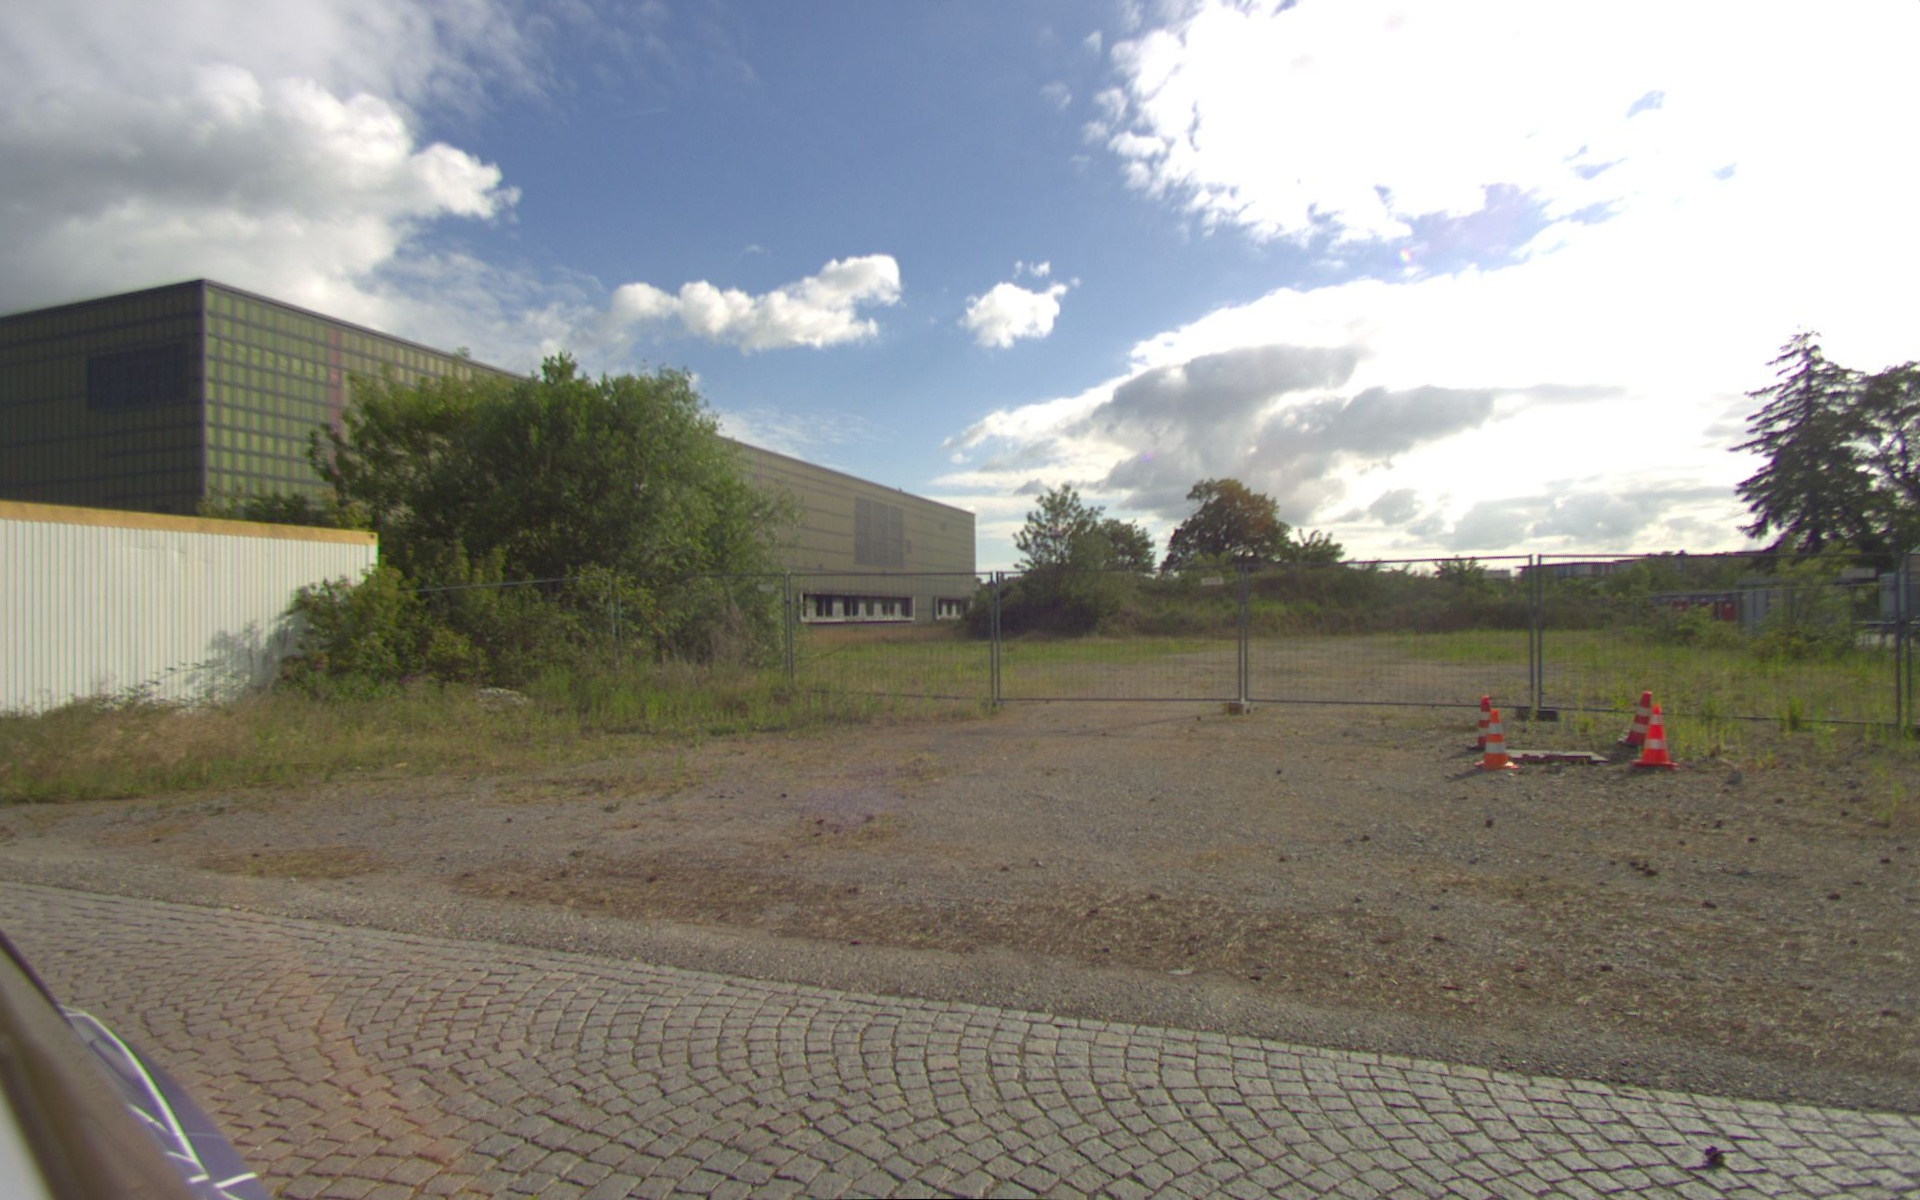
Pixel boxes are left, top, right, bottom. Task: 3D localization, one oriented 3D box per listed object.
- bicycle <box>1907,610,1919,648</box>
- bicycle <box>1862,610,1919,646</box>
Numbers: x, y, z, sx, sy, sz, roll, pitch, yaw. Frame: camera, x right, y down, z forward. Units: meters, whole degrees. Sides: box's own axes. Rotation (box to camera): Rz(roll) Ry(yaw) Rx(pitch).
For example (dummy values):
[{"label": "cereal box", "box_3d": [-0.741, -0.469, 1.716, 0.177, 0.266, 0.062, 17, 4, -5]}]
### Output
[{"label": "bicycle", "box_3d": [28.542, 0.807, 28.819, 2.052, 1.095, 0.940, -1, -1, 18]}, {"label": "bicycle", "box_3d": [29.152, 0.853, 30.985, 2.052, 1.052, 0.940, -1, -1, 18]}]
